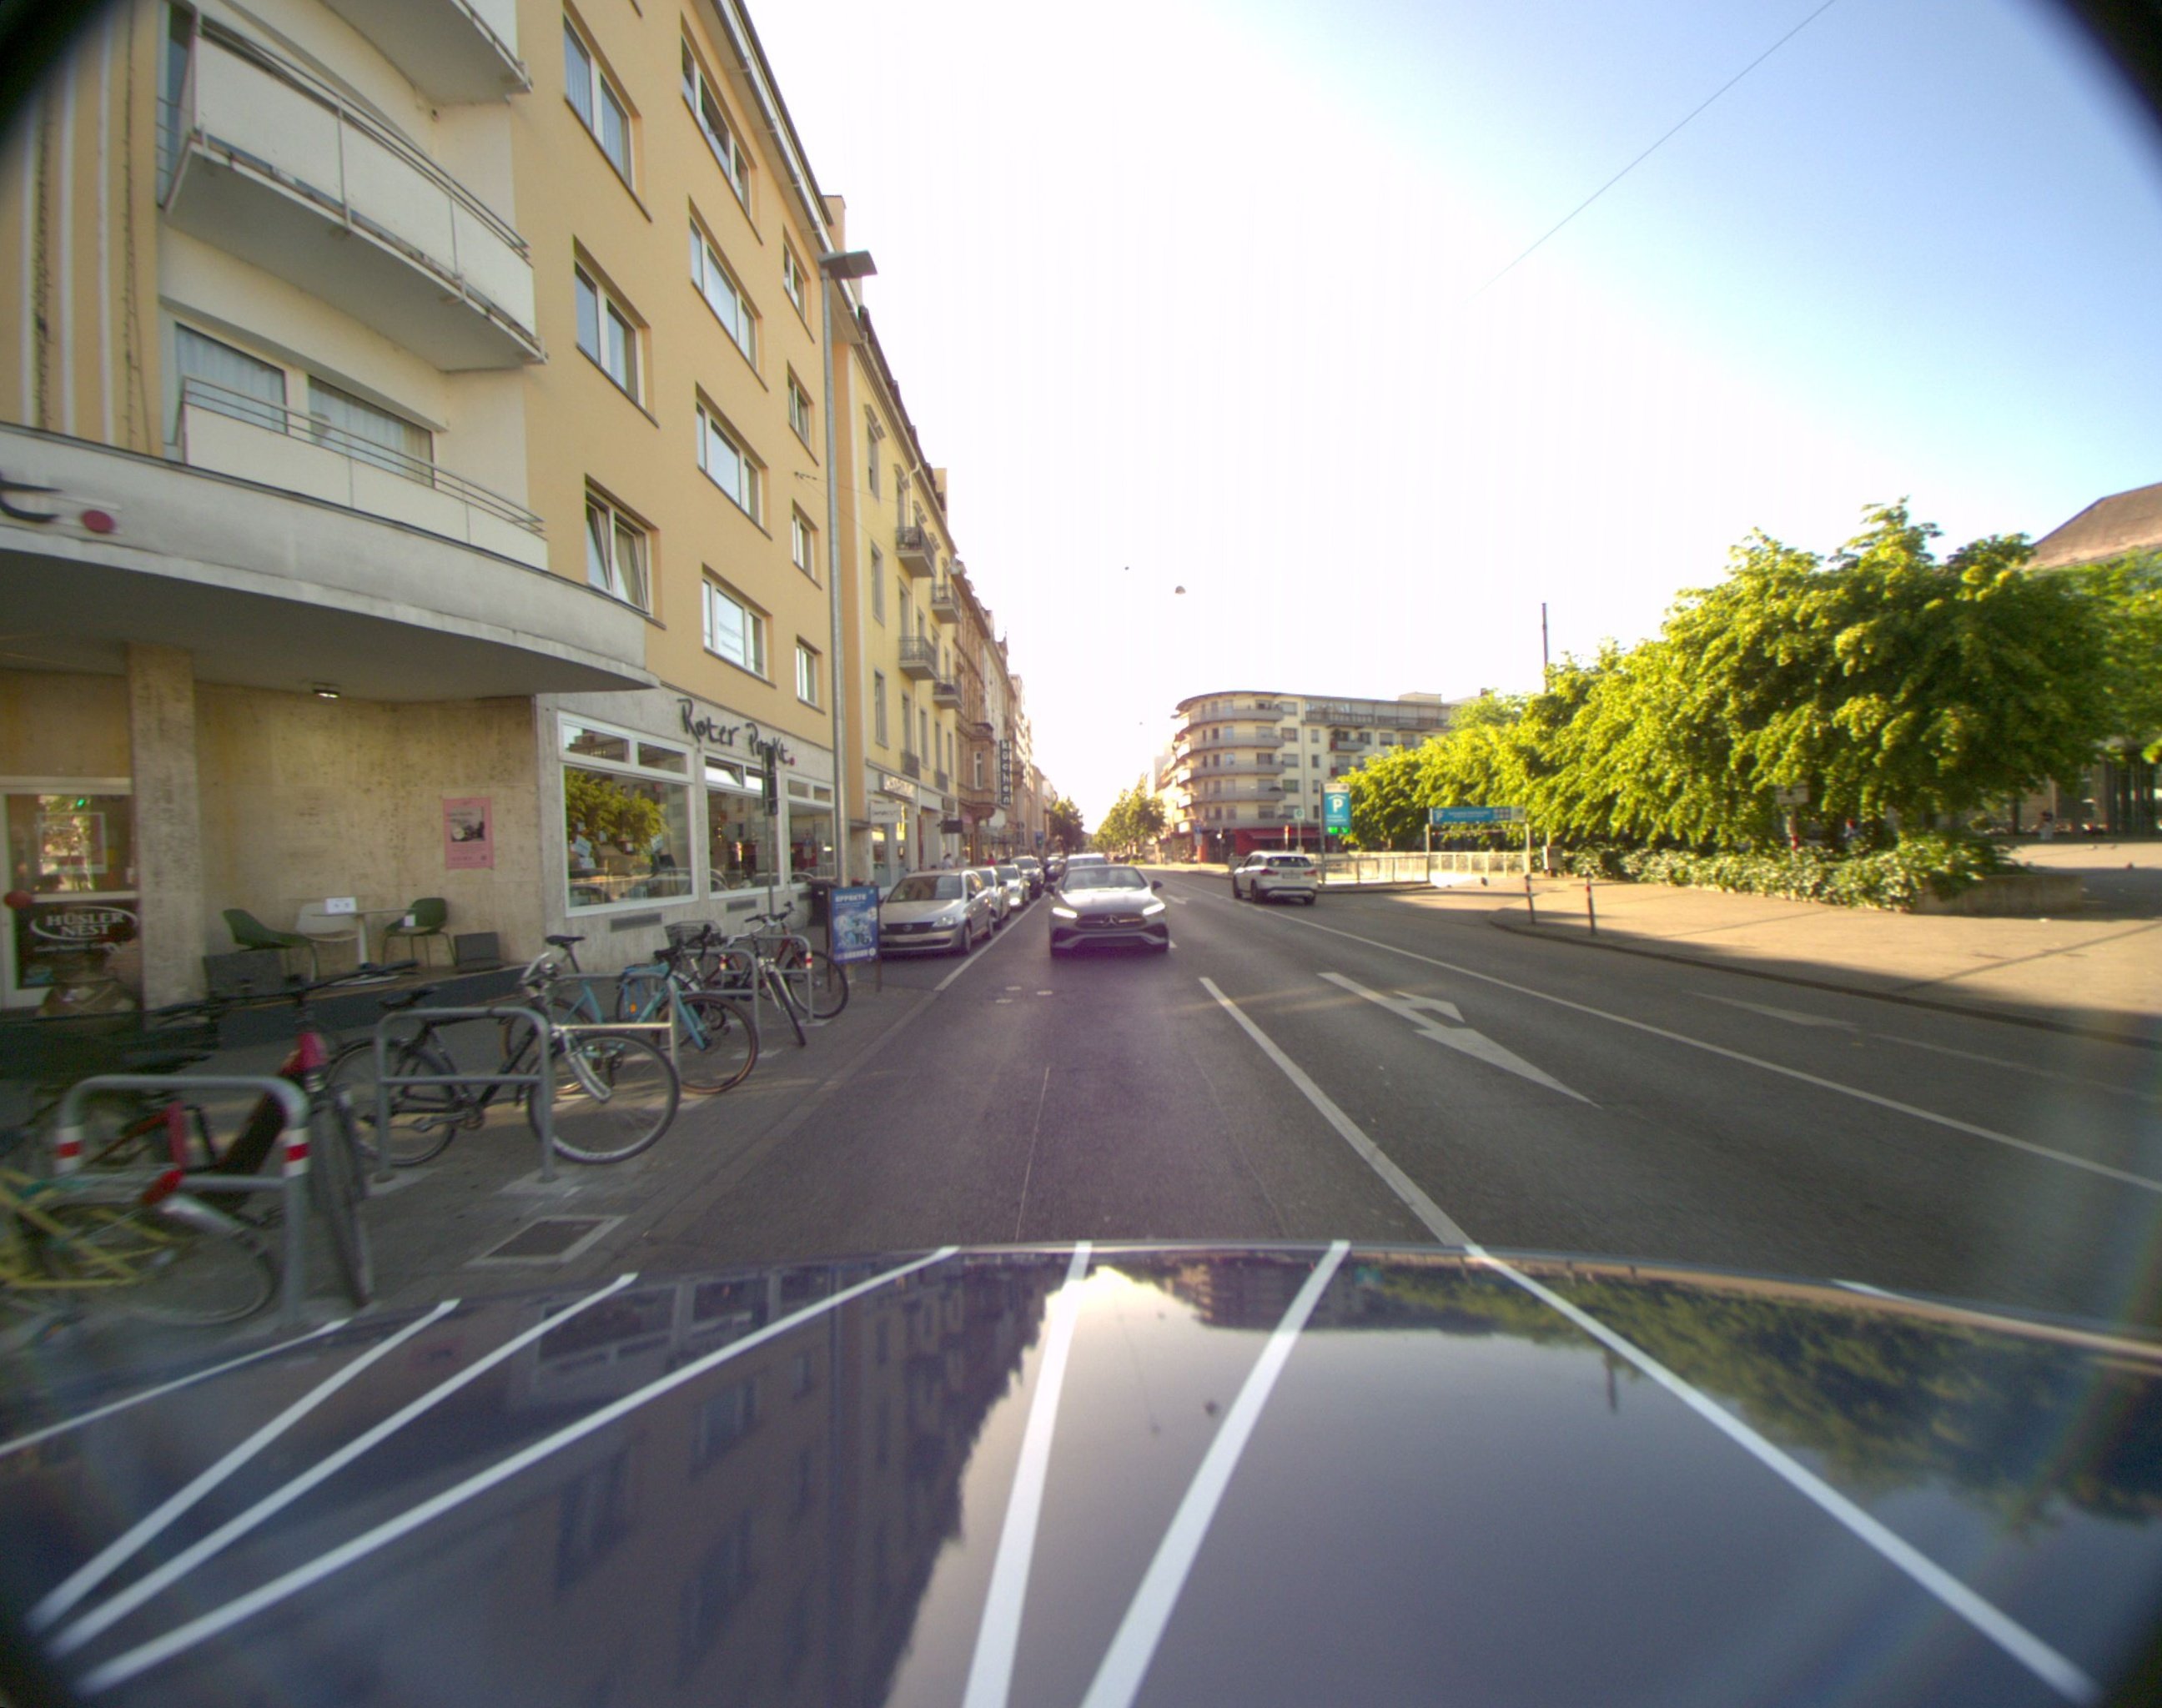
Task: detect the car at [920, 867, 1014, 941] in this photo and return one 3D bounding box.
[{"bbox_3d":[-2.654,1.117,18.458,1.741,1.417,3.999,-2,1,-2],"label":"car"}]

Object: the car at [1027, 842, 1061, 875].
[{"bbox_3d":[-2.384,0.278,50.069,1.999,2.002,4.191,-2,1,0],"label":"car"}]

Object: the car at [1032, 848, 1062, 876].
[{"bbox_3d":[-2.486,0.554,56.054,1.999,1.852,3.999,-2,1,-1],"label":"car"}]

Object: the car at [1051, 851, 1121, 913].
[{"bbox_3d":[0.184,0.816,24.292,1.998,1.718,4.000,-2,1,1],"label":"car"}]

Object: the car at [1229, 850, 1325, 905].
[{"bbox_3d":[6.006,0.661,23.796,1.846,1.538,4.239,0,1,-1],"label":"car"}]

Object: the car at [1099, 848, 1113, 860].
[{"bbox_3d":[3.796,0.026,116.185,1.999,1.758,3.999,-2,1,0],"label":"car"}]

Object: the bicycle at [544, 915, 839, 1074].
[{"bbox_3d":[-3.132,1.122,6.244,2.026,1.143,0.715,-1,1,1],"label":"bicycle"}]

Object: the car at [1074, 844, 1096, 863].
[{"bbox_3d":[0.455,-0.105,73.327,1.998,1.718,4.000,-2,1,1],"label":"car"}]

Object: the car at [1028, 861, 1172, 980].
[{"bbox_3d":[0.362,0.947,12.750,1.910,1.454,4.364,-4,1,3],"label":"car"}]

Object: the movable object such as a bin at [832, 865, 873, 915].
[{"bbox_3d":[-5.887,0.914,19.593,0.703,1.232,0.960,-2,1,1],"label":"movable object such as a bin"}]

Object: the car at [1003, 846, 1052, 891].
[{"bbox_3d":[-2.560,0.655,37.462,1.998,2.002,4.000,-2,1,1],"label":"car"}]

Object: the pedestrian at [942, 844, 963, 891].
[{"bbox_3d":[-5.318,0.568,31.499,0.694,1.895,0.906,-2,1,-2],"label":"pedestrian"}]

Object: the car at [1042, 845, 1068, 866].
[{"bbox_3d":[-2.271,0.092,66.687,1.998,1.718,4.000,-2,1,1],"label":"car"}]

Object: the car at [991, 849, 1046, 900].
[{"bbox_3d":[-2.522,0.761,30.571,1.999,1.867,3.998,-2,1,-5],"label":"car"}]

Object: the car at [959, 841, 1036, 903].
[{"bbox_3d":[-2.539,0.509,24.142,1.999,1.725,4.198,-2,1,-1],"label":"car"}]

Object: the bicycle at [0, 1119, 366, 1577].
[{"bbox_3d":[-3.322,1.333,2.116,1.847,0.826,0.741,-2,1,-5],"label":"bicycle"}]

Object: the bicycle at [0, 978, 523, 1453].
[{"bbox_3d":[-3.326,1.160,2.679,1.946,1.205,0.933,-2,1,-5],"label":"bicycle"}]

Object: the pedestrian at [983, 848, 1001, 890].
[{"bbox_3d":[-4.141,0.676,35.463,0.694,1.895,0.906,-2,1,-2],"label":"pedestrian"}]

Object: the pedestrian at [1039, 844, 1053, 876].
[{"bbox_3d":[-2.118,0.337,45.905,0.610,1.912,0.714,-2,1,13],"label":"pedestrian"}]

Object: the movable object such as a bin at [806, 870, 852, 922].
[{"bbox_3d":[-5.891,0.969,17.825,0.703,1.154,0.960,-2,1,1],"label":"movable object such as a bin"}]

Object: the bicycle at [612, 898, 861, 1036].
[{"bbox_3d":[-3.263,1.062,7.314,2.049,1.174,0.683,-2,1,1],"label":"bicycle"}]

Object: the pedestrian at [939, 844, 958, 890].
[{"bbox_3d":[-5.619,0.543,32.246,0.673,1.942,0.615,-2,1,-3],"label":"pedestrian"}]

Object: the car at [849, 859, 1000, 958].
[{"bbox_3d":[-2.627,0.861,13.721,1.693,1.390,4.000,-2,1,2],"label":"car"}]

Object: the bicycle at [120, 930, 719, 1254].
[{"bbox_3d":[-3.018,1.058,3.662,2.142,1.237,0.710,-2,1,-4],"label":"bicycle"}]

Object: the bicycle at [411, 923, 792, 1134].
[{"bbox_3d":[-3.021,1.085,4.930,1.962,1.151,0.755,-2,1,1],"label":"bicycle"}]
